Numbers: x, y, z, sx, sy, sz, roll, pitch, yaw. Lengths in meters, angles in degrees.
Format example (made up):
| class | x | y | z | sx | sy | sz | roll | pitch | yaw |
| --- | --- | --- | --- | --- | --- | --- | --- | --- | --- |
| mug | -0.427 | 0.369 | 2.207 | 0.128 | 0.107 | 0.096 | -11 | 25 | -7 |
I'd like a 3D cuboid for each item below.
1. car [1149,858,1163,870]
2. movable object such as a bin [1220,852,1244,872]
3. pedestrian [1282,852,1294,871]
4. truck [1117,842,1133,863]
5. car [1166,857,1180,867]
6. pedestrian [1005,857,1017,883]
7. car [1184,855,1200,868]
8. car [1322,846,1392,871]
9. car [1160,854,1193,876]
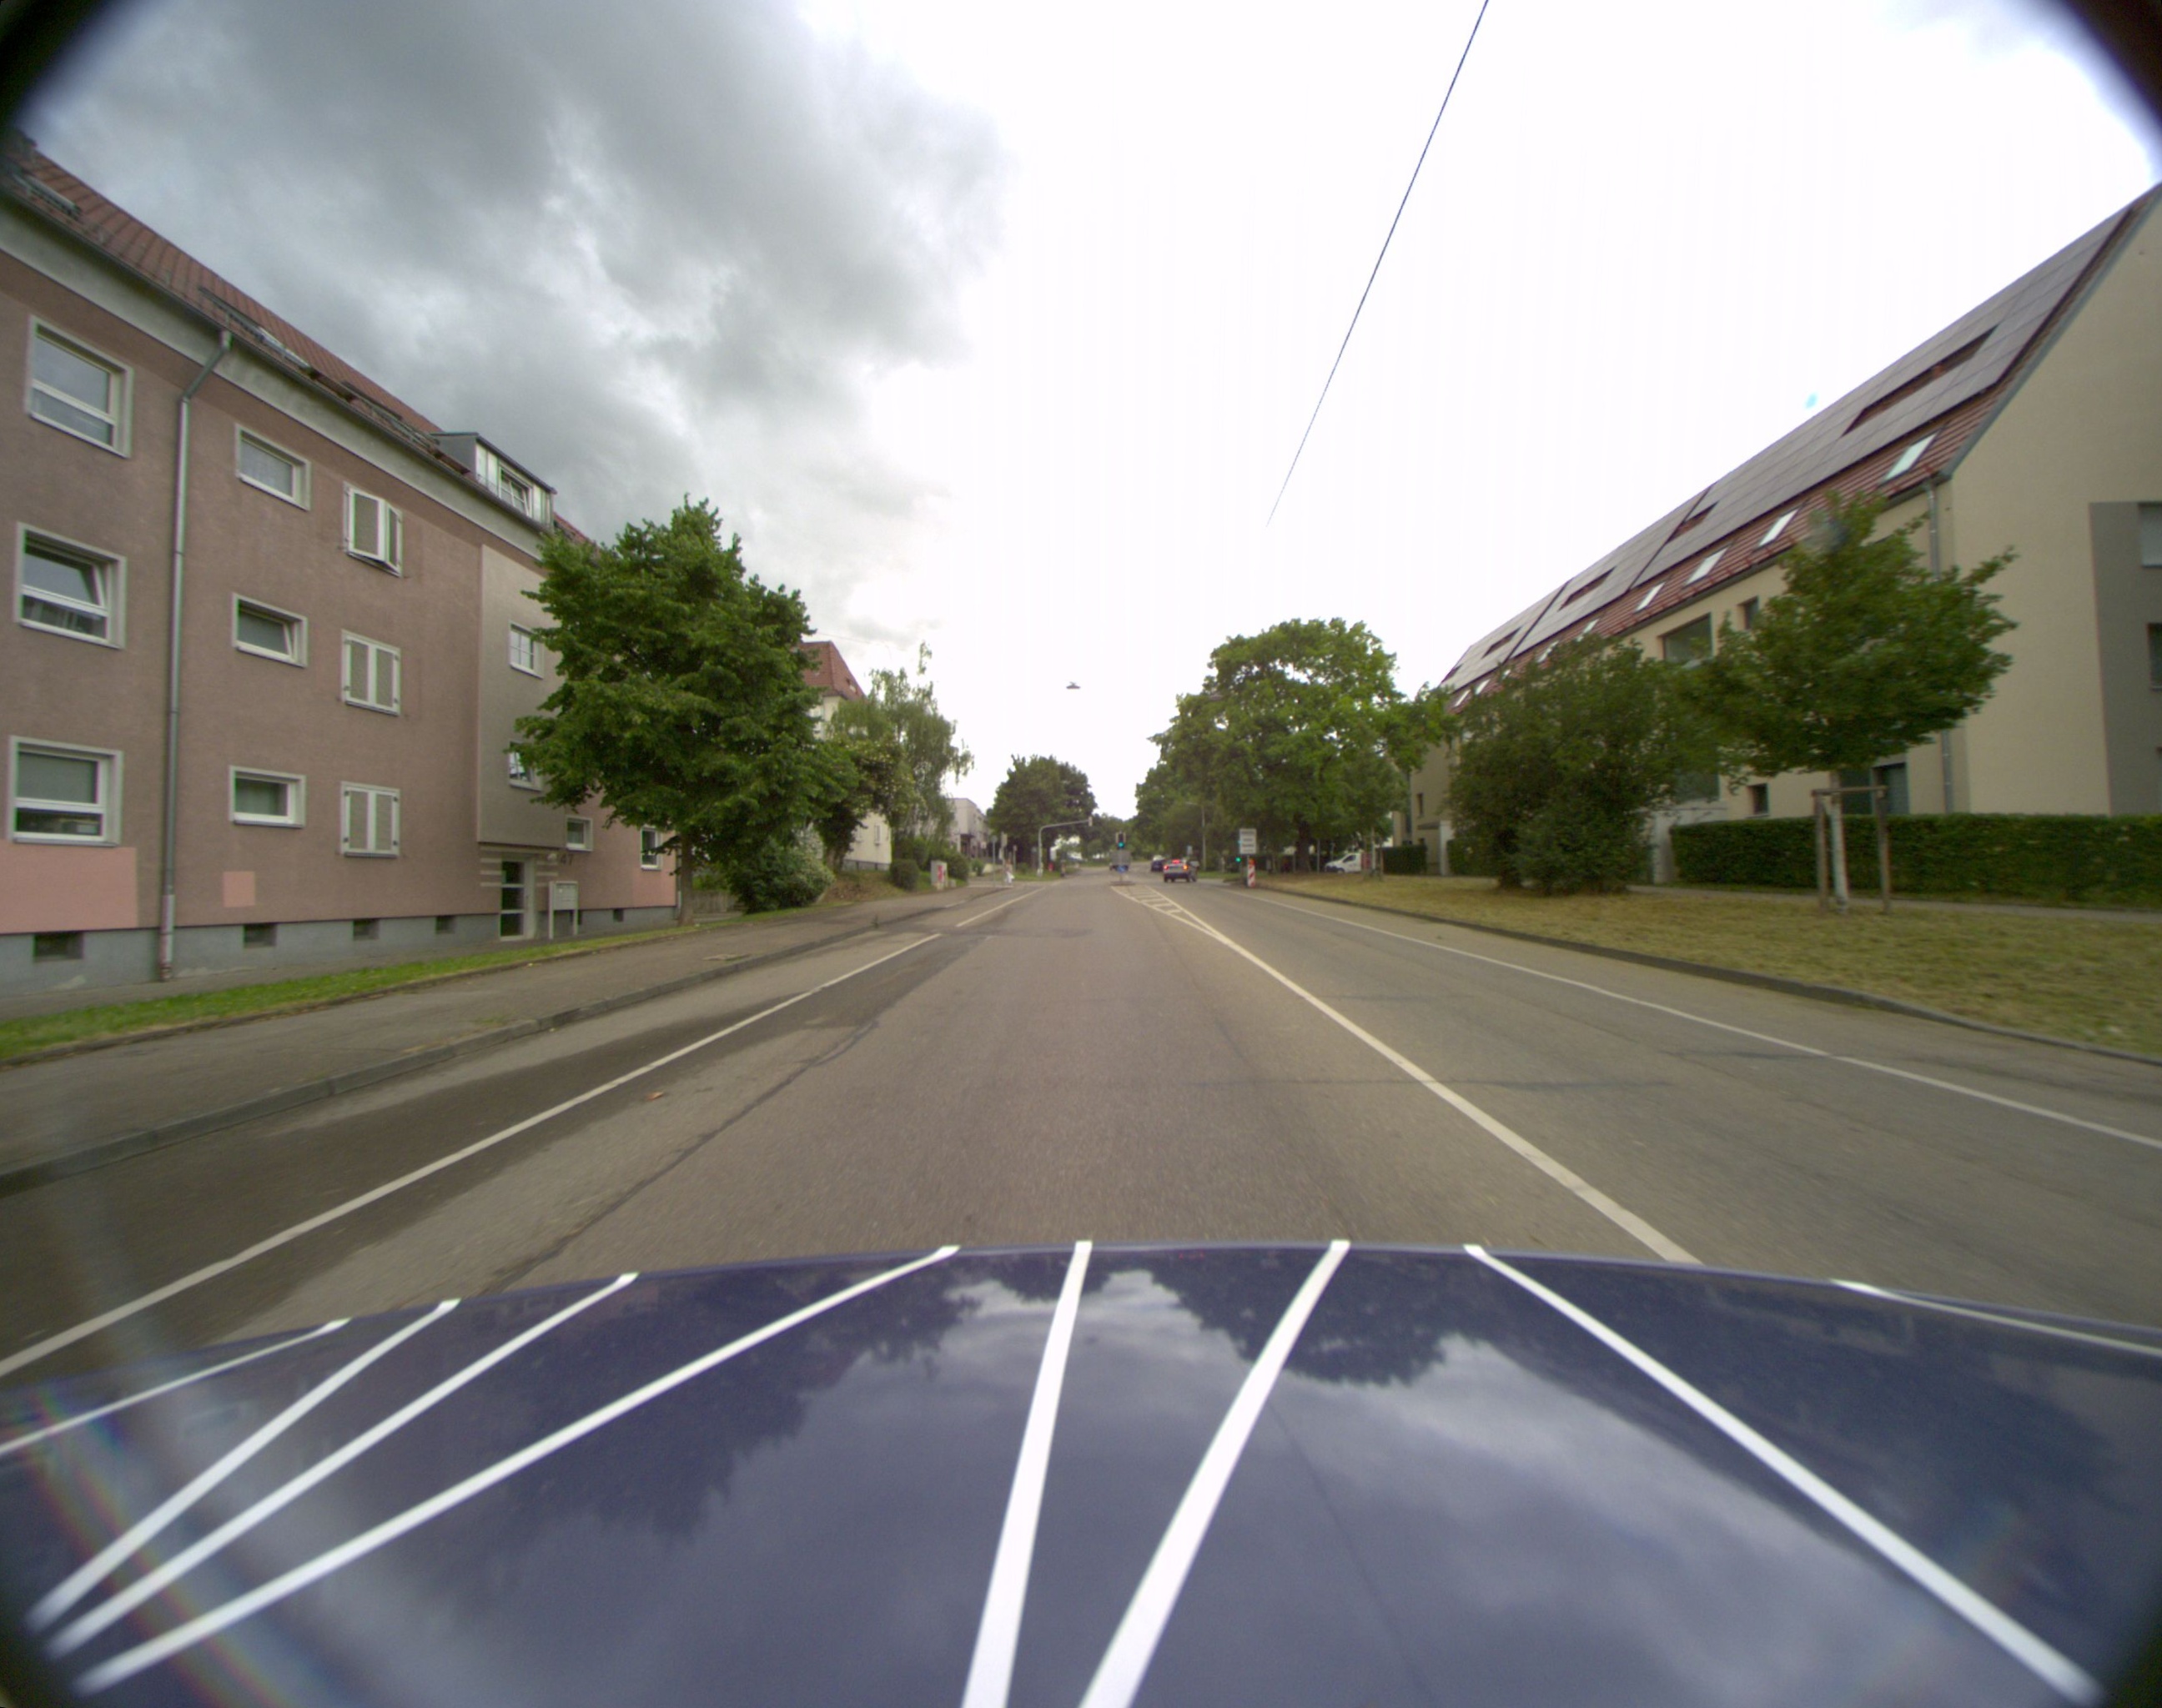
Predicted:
| class | x | y | z | sx | sy | sz | roll | pitch | yaw |
| --- | --- | --- | --- | --- | --- | --- | --- | --- | --- |
| car | 11.535 | 1.497 | 116.717 | 1.997 | 1.674 | 4.002 | -2 | 0 | 7 |
| movable object such as a bin | 15.441 | 0.813 | 77.828 | 1.099 | 1.892 | 3.247 | -2 | 0 | -13 |
| pedestrian | 19.755 | 0.743 | 72.558 | 0.778 | 1.746 | 0.688 | -2 | 0 | -30 |
| truck | 7.109 | -0.236 | 123.723 | 2.371 | 3.218 | 7.217 | -1 | 0 | 1 |
| car | 12.915 | 1.082 | 106.630 | 1.604 | 1.346 | 4.001 | -2 | 0 | 3 |
| pedestrian | -4.524 | 1.046 | 48.929 | 0.658 | 1.674 | 0.575 | 1 | -2 | 3 |
| car | 15.410 | 1.027 | 105.611 | 1.860 | 1.596 | 4.001 | -2 | 0 | 3 |
| car | 23.073 | 0.380 | 63.649 | 5.152 | 1.906 | 2.000 | -2 | 0 | 2 |
| car | 6.459 | 0.713 | 51.838 | 1.806 | 1.455 | 4.030 | 0 | 0 | 1 |
